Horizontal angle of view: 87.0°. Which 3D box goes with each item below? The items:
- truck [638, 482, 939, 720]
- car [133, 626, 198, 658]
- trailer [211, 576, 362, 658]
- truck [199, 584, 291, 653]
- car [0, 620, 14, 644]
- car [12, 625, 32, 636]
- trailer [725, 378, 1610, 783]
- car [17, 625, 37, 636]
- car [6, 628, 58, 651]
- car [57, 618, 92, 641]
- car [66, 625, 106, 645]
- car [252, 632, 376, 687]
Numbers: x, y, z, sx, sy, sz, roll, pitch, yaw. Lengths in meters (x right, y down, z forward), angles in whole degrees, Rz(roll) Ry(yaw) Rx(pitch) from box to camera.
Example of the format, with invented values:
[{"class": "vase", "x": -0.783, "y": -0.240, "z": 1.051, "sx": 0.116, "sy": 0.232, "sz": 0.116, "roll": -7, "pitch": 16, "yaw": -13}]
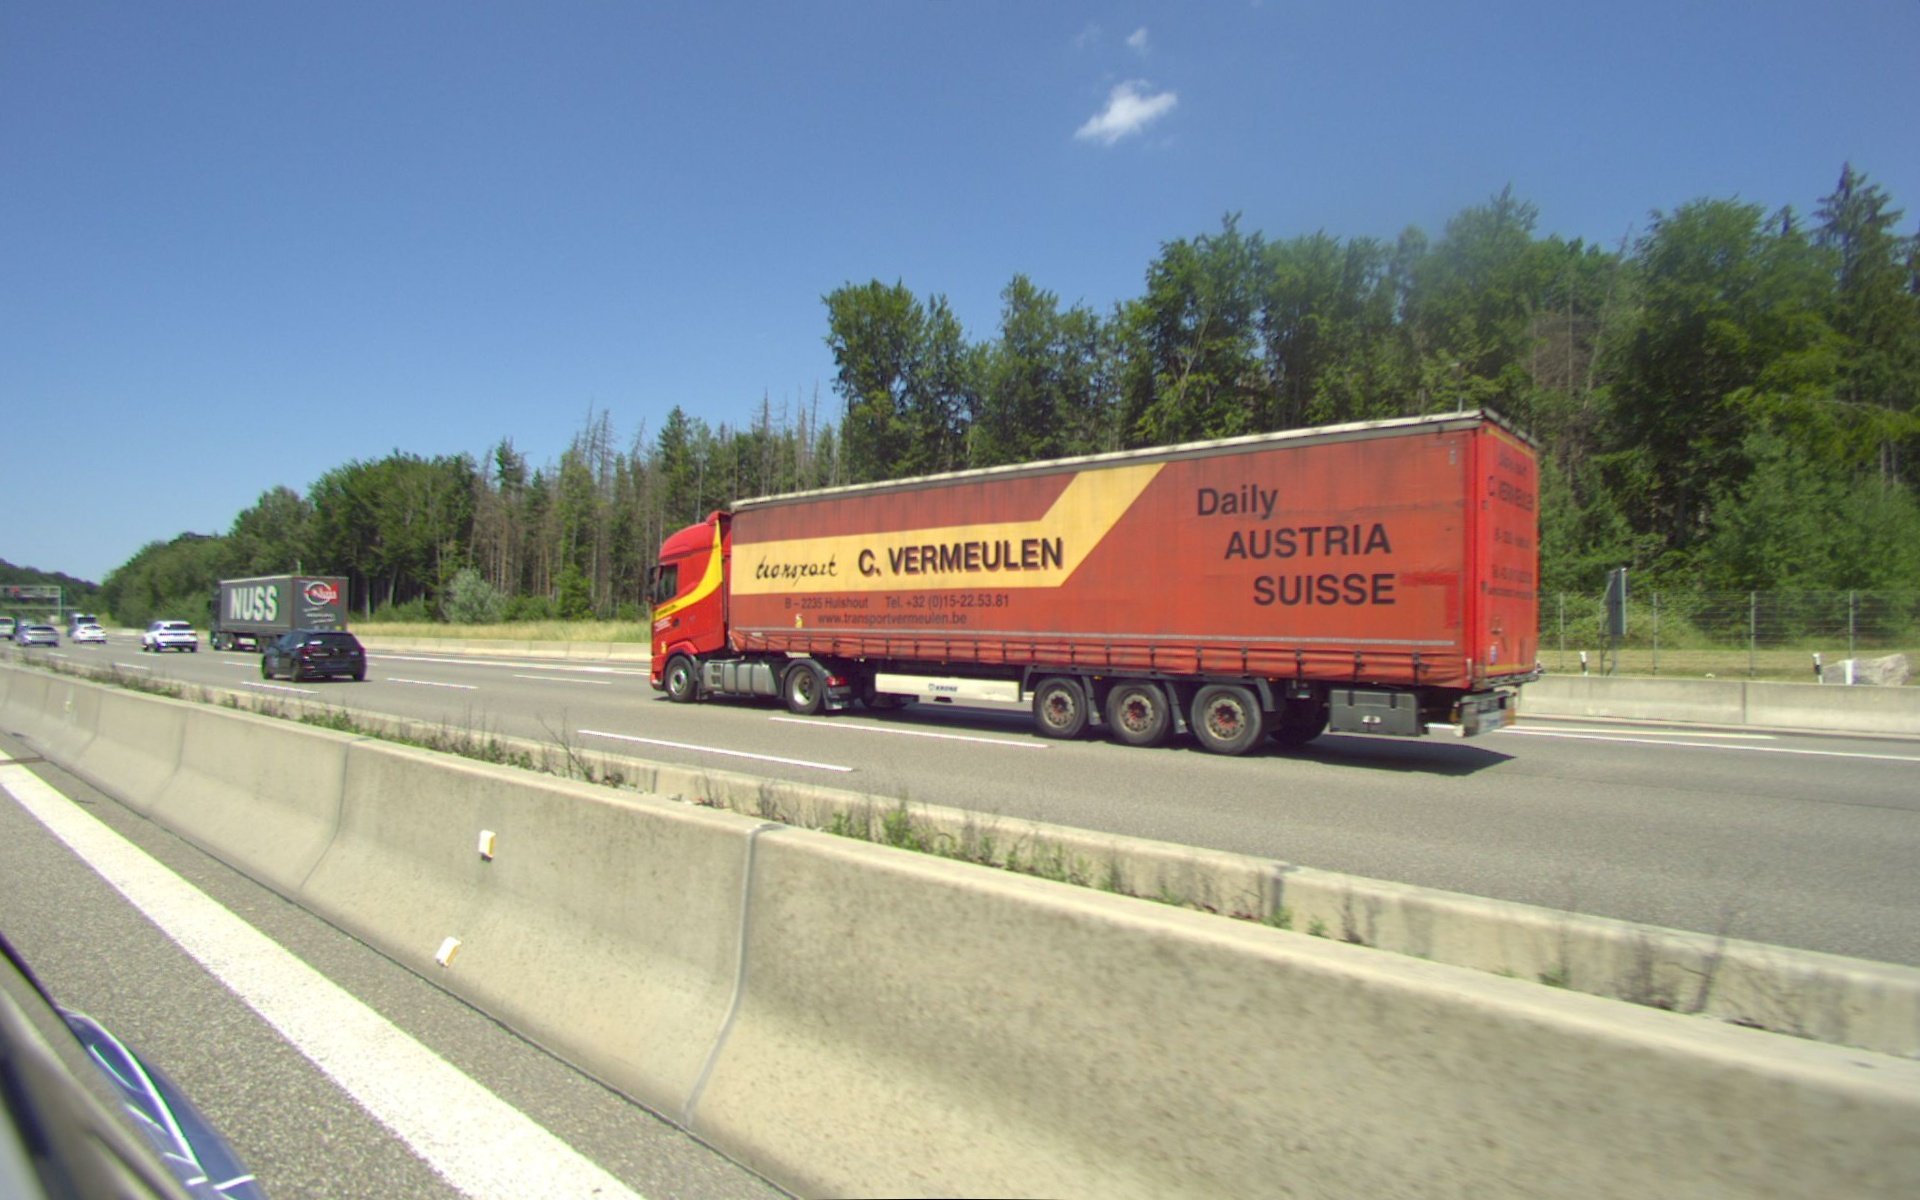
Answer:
[{"class": "truck", "x": -3.640, "y": 0.086, "z": 20.453, "sx": 6.469, "sy": 4.080, "sz": 2.501, "roll": -1, "pitch": -2, "yaw": 41}, {"class": "car", "x": -43.378, "y": 2.261, "z": 55.214, "sx": 4.610, "sy": 1.683, "sz": 1.972, "roll": -1, "pitch": -2, "yaw": 41}, {"class": "trailer", "x": -37.516, "y": 0.998, "z": 55.996, "sx": 14.272, "sy": 4.032, "sz": 3.307, "roll": -1, "pitch": -2, "yaw": 41}, {"class": "truck", "x": -42.995, "y": 1.138, "z": 60.800, "sx": 5.536, "sy": 3.961, "sz": 3.253, "roll": -1, "pitch": -2, "yaw": 41}, {"class": "car", "x": -82.421, "y": 2.709, "z": 86.375, "sx": 5.128, "sy": 2.029, "sz": 1.972, "roll": -1, "pitch": -2, "yaw": 42}, {"class": "car", "x": -134.851, "y": 4.390, "z": 145.445, "sx": 3.862, "sy": 1.582, "sz": 1.711, "roll": -1, "pitch": -2, "yaw": 42}, {"class": "trailer", "x": 1.612, "y": -0.068, "z": 15.838, "sx": 14.175, "sy": 4.080, "sz": 2.544, "roll": -1, "pitch": -2, "yaw": 41}, {"class": "car", "x": -131.885, "y": 4.333, "z": 143.102, "sx": 3.862, "sy": 1.582, "sz": 1.711, "roll": -1, "pitch": -2, "yaw": 42}, {"class": "car", "x": -59.883, "y": 2.500, "z": 65.263, "sx": 5.009, "sy": 1.387, "sz": 1.972, "roll": -1, "pitch": -2, "yaw": 42}, {"class": "car", "x": -98.088, "y": 3.263, "z": 112.044, "sx": 6.341, "sy": 2.431, "sz": 1.928, "roll": -1, "pitch": -3, "yaw": 41}, {"class": "car", "x": -66.164, "y": 2.611, "z": 76.599, "sx": 3.809, "sy": 1.497, "sz": 1.785, "roll": -1, "pitch": -2, "yaw": 42}, {"class": "car", "x": -18.156, "y": 1.597, "z": 28.359, "sx": 4.314, "sy": 1.398, "sz": 1.802, "roll": -1, "pitch": -2, "yaw": 41}]
